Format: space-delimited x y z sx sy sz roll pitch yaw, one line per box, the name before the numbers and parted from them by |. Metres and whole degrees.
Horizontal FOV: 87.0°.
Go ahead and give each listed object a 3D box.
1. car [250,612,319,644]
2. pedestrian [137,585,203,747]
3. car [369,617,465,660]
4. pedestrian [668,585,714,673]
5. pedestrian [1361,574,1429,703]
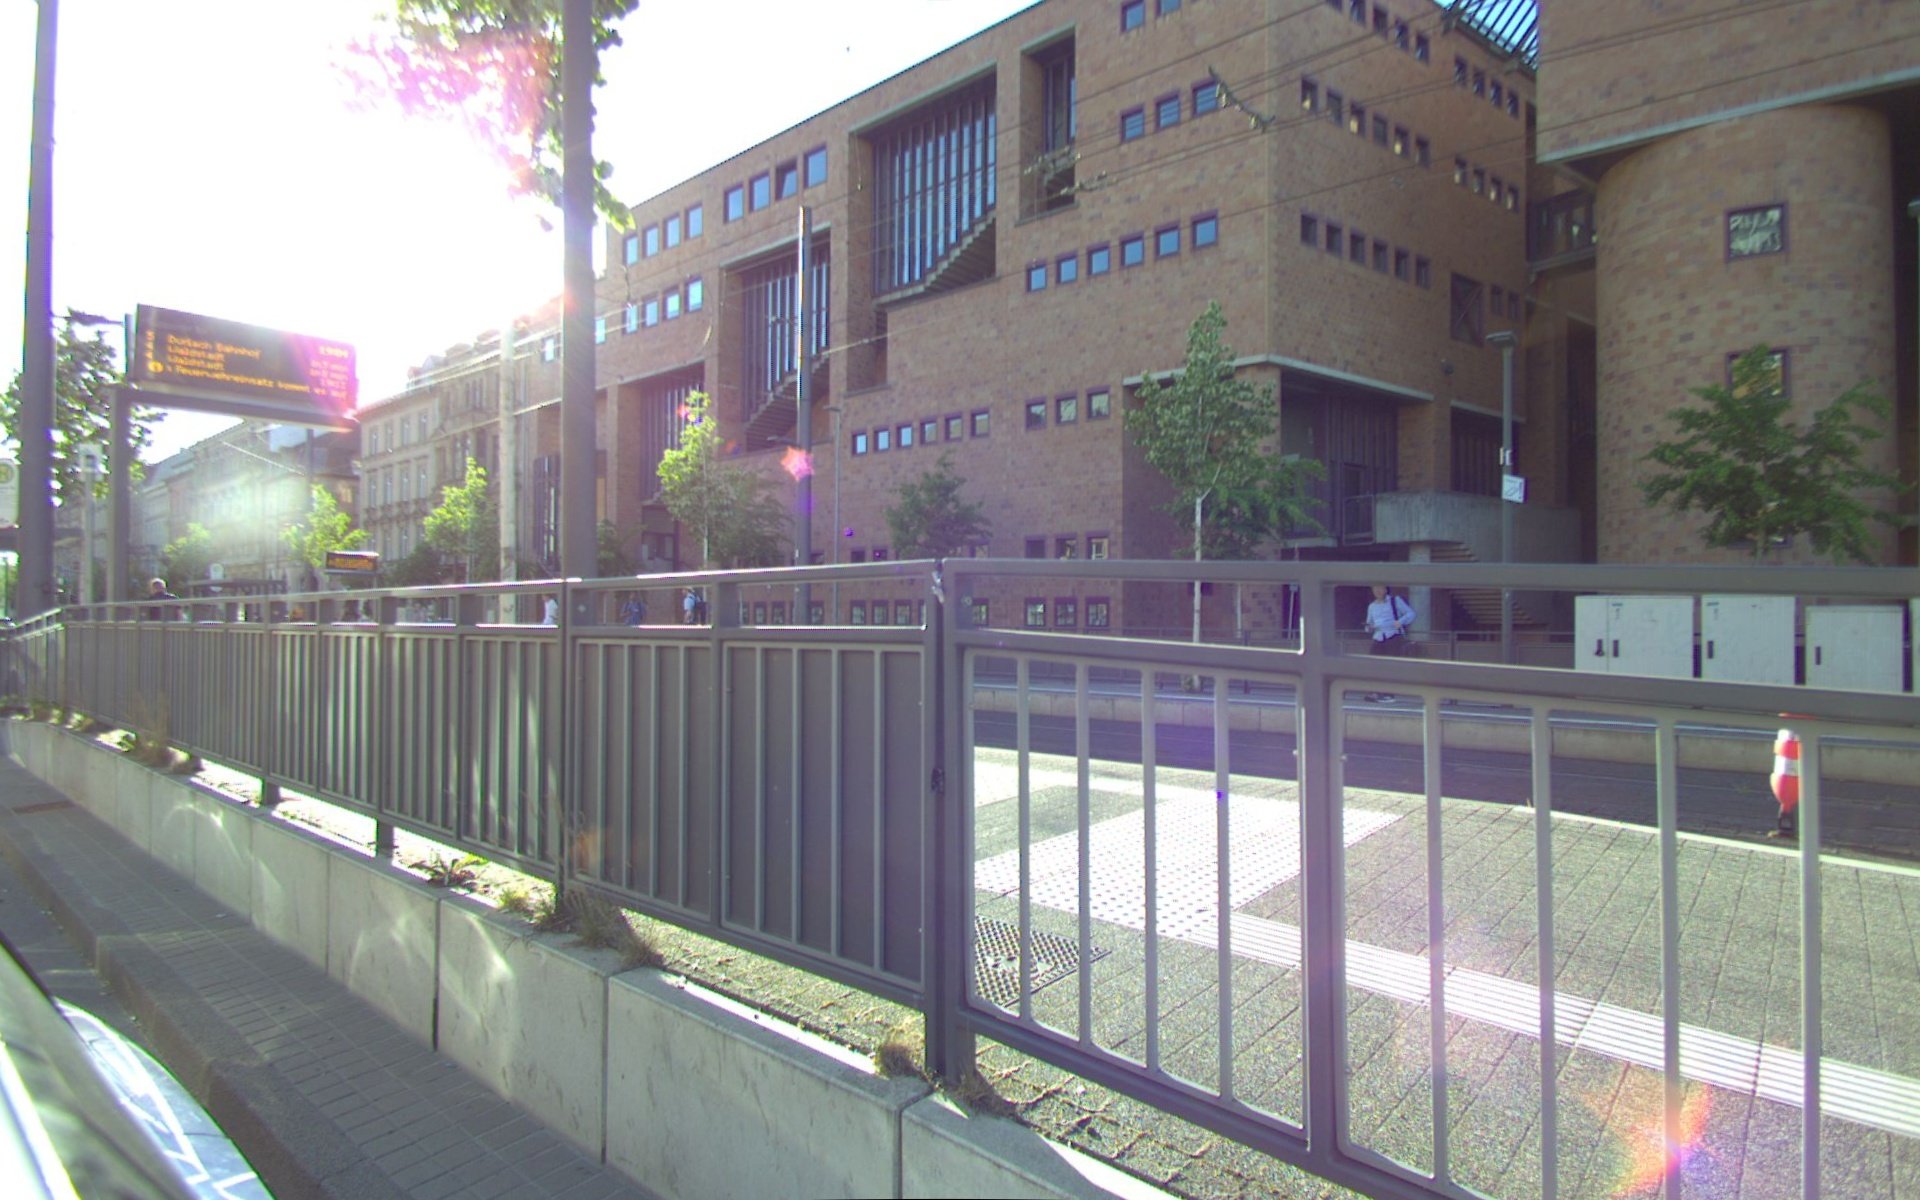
car | -34.578 1.400 51.759 4.237 1.580 1.807 0 -2 40
pedestrian | -12.320 0.997 15.788 0.625 2.461 0.676 0 0 38
car | -21.912 1.512 40.749 4.691 1.580 1.806 0 -2 40
pedestrian | -5.710 0.598 21.489 0.668 1.821 0.677 0 0 40
pedestrian | 5.771 0.494 13.430 0.684 1.647 0.660 0 0 37
